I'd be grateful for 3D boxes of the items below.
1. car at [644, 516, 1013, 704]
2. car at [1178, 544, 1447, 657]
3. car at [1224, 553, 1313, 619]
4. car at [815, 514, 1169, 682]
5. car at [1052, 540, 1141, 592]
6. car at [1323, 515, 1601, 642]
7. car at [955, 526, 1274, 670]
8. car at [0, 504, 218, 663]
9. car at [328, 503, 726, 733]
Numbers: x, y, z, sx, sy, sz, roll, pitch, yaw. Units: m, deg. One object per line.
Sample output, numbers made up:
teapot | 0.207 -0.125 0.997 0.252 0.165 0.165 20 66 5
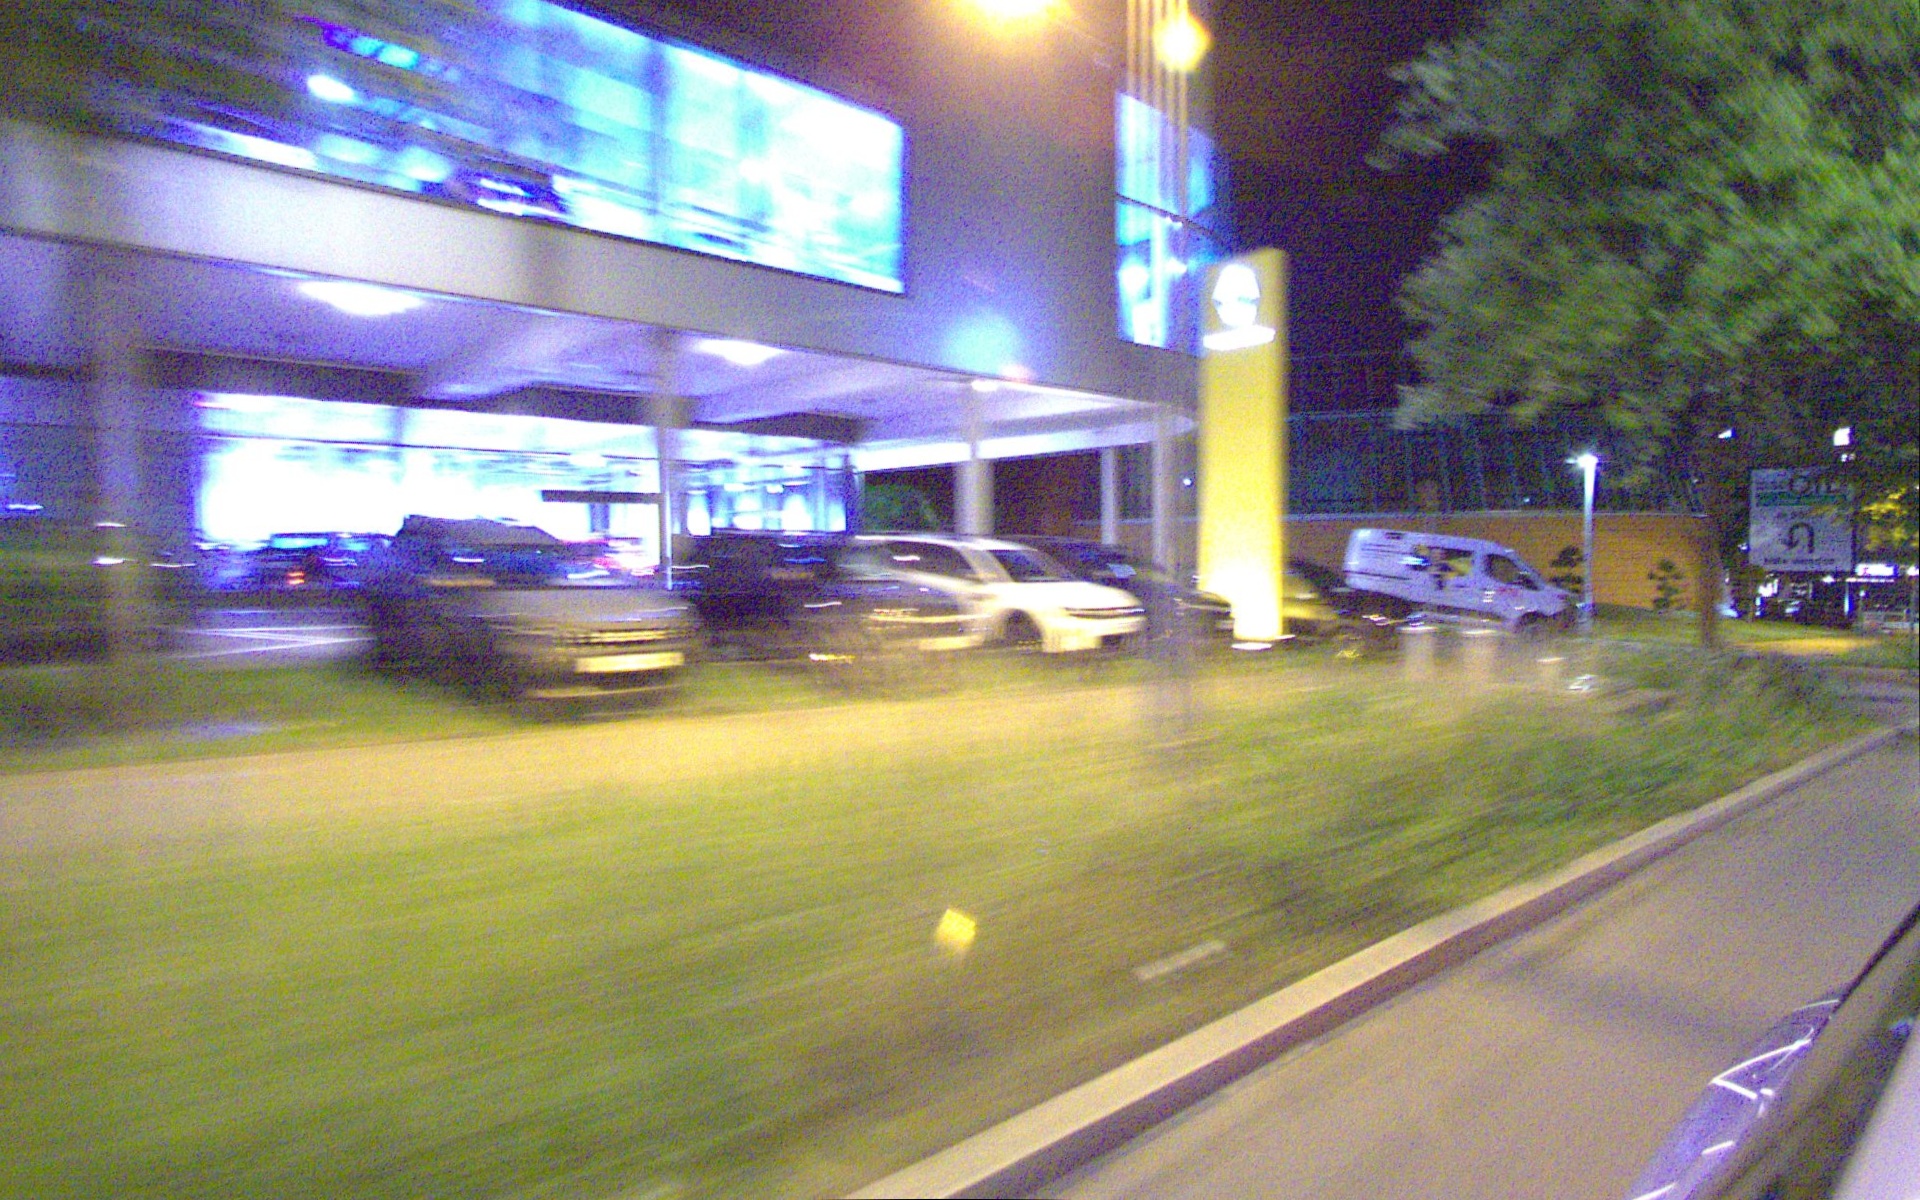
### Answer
car | -1.615 -0.013 11.539 4.077 1.587 1.828 7 4 39
car | 6.374 -0.074 18.535 4.197 1.683 1.933 5 4 39
car | 9.178 -0.460 29.949 1.794 1.732 3.931 4 3 27
car | 0.315 -0.144 13.748 4.457 1.707 1.972 7 5 39
car | 4.714 -1.153 34.492 1.783 1.596 3.931 4 3 27
car | 12.821 -0.653 26.050 5.998 2.559 2.257 8 5 33
car | 2.290 -0.133 15.706 4.455 1.832 1.972 5 3 39
car | -10.253 -0.218 10.429 1.960 1.548 3.991 3 2 9
car | -4.357 -0.015 9.793 4.459 1.565 1.744 8 6 40
